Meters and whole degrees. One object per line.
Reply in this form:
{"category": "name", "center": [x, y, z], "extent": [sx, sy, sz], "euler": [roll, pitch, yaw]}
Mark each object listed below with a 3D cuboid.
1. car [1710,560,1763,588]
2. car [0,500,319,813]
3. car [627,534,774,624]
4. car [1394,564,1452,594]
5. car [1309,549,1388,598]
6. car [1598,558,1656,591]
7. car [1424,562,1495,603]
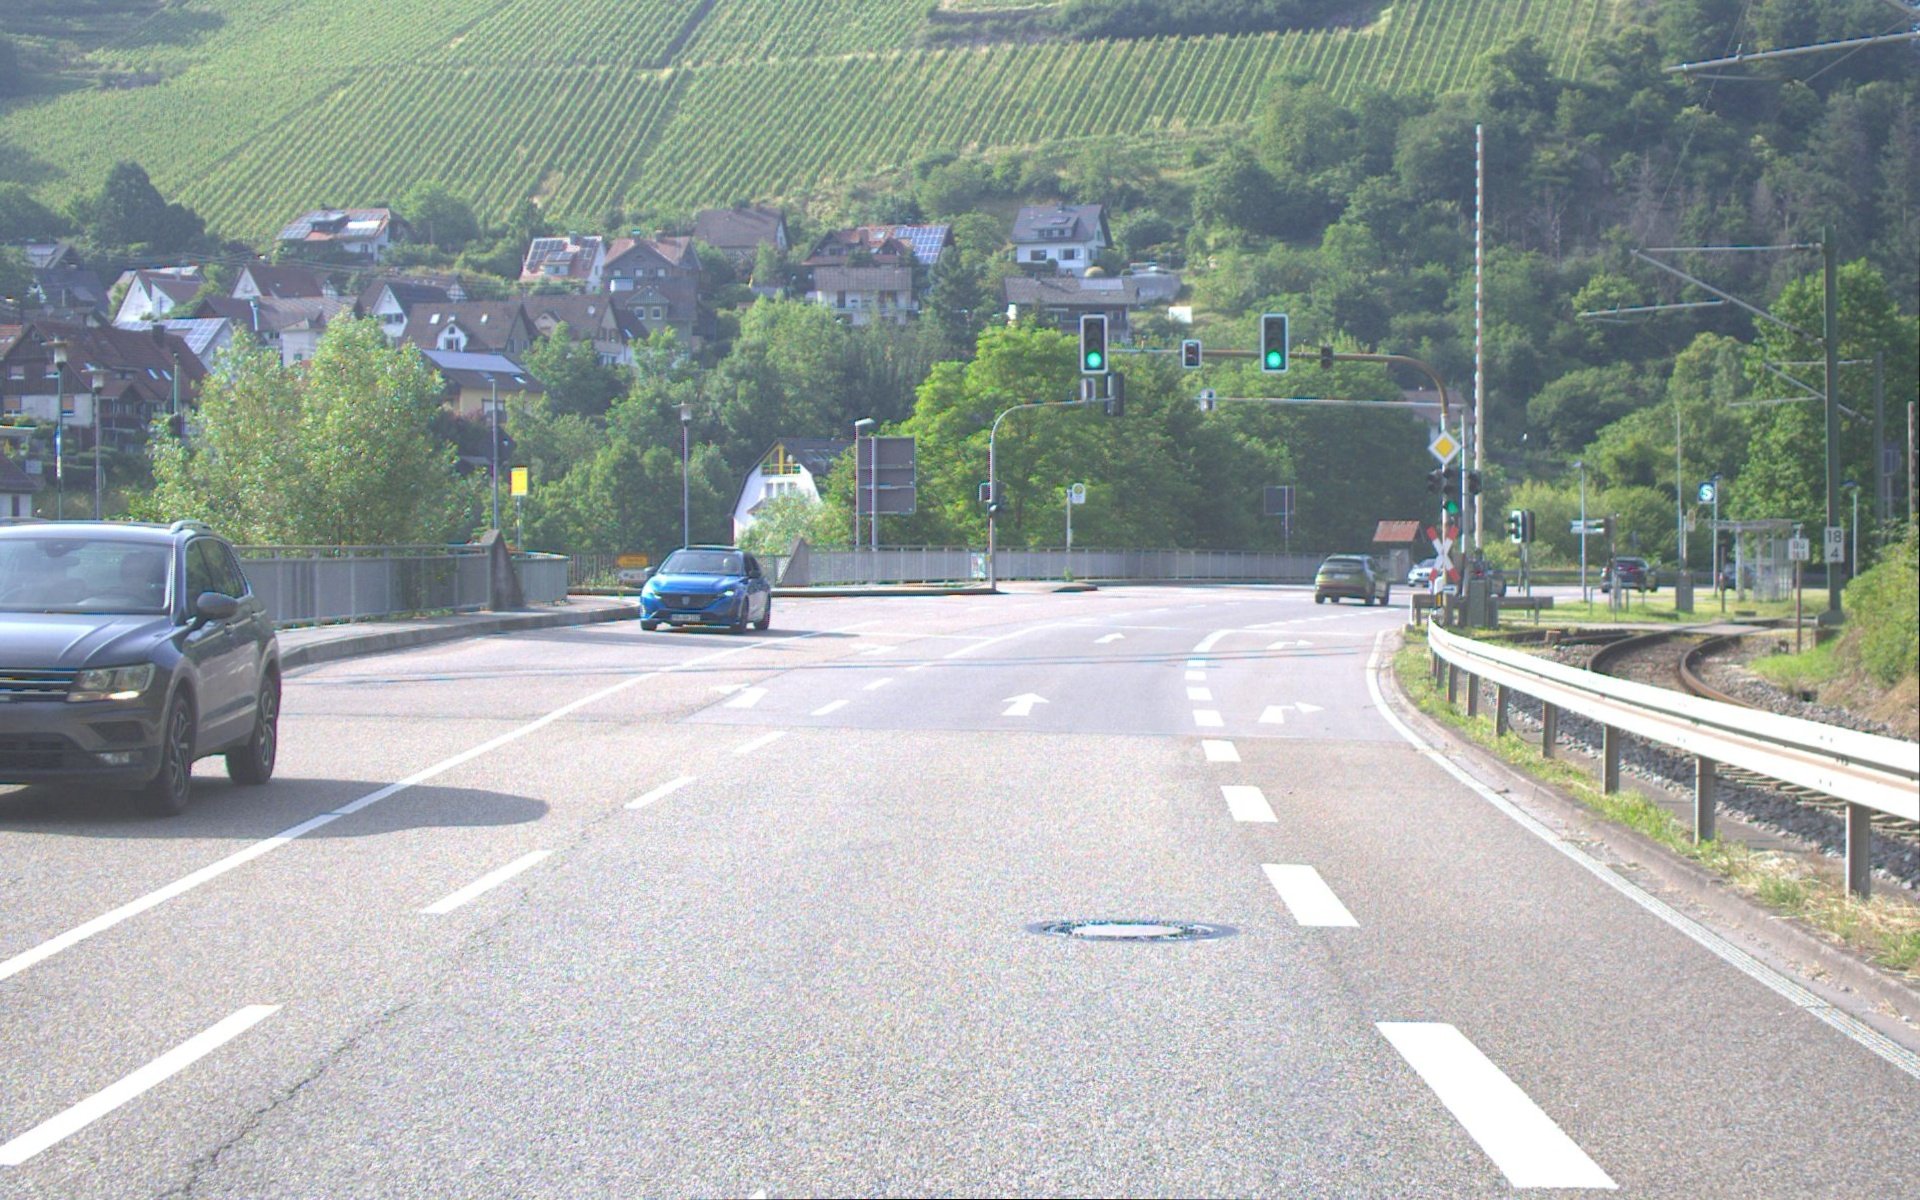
{"category": "car", "center": [39.839, -1.329, 176.307], "extent": [1.811, 1.403, 3.768], "euler": [-1, 0, 27]}
{"category": "car", "center": [-5.159, 0.264, 20.425], "extent": [1.817, 1.641, 4.612], "euler": [1, 1, 0]}
{"category": "car", "center": [-4.492, -0.393, 60.050], "extent": [1.782, 1.477, 4.525], "euler": [1, 1, 6]}
{"category": "car", "center": [20.385, -0.941, 151.237], "extent": [1.647, 1.227, 4.090], "euler": [2, 1, 20]}
{"category": "car", "center": [11.690, -0.785, 103.318], "extent": [1.730, 1.452, 3.407], "euler": [0, 0, 17]}
{"category": "car", "center": [29.739, -1.132, 153.194], "extent": [1.809, 1.448, 3.643], "euler": [-1, 0, 23]}
{"category": "car", "center": [18.079, -0.612, 124.364], "extent": [1.842, 1.454, 3.709], "euler": [0, 0, 19]}
